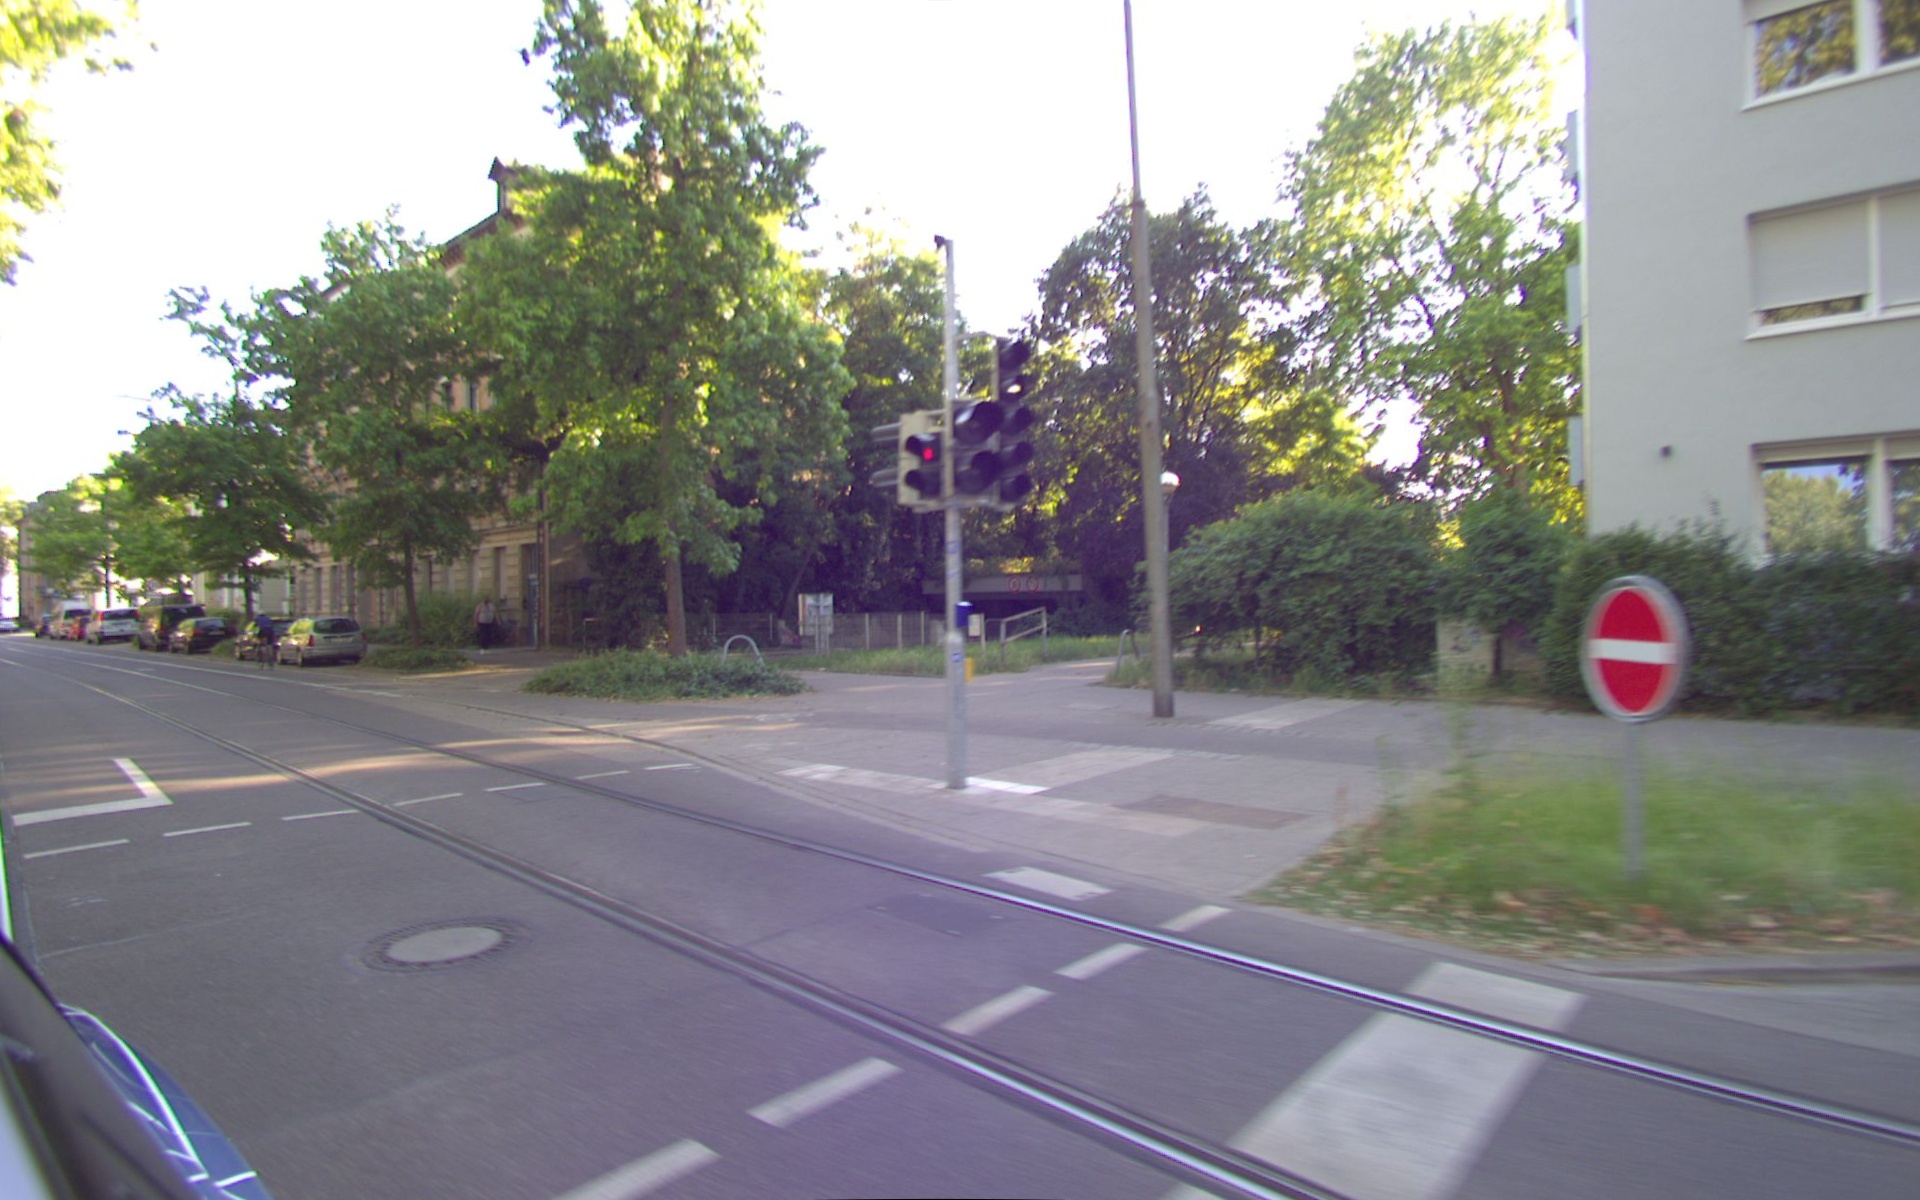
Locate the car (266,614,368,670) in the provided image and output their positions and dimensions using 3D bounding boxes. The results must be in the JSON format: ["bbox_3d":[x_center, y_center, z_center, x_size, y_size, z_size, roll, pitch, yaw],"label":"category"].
[{"bbox_3d":[-19.838,1.257,31.146,4.538,1.562,1.680,-1,0,45],"label":"car"}]

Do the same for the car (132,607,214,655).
[{"bbox_3d":[-34.998,1.357,44.968,4.831,2.029,1.973,-1,-1,41],"label":"car"}]

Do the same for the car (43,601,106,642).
[{"bbox_3d":[-56.623,1.362,64.680,5.340,2.527,2.280,-1,-1,40],"label":"car"}]

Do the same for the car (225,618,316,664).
[{"bbox_3d":[-23.527,1.362,34.479,3.947,1.456,1.641,-1,0,41],"label":"car"}]

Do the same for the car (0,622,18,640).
[{"bbox_3d":[-84.210,2.752,88.696,4.936,1.504,1.754,-1,0,39],"label":"car"}]

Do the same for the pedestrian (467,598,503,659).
[{"bbox_3d":[-14.875,0.893,31.702,0.728,1.861,0.734,-1,0,40],"label":"pedestrian"}]

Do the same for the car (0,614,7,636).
[{"bbox_3d":[-92.012,2.387,95.919,4.938,2.062,1.903,-1,0,41],"label":"car"}]

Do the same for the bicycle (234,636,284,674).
[{"bbox_3d":[-19.467,1.516,28.092,2.100,0.994,0.634,-1,-2,41],"label":"bicycle"}]

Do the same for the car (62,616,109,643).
[{"bbox_3d":[-53.106,1.775,61.450,3.706,1.551,1.667,-1,-1,41],"label":"car"}]

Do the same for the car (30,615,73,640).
[{"bbox_3d":[-63.473,1.907,70.658,4.263,1.703,1.970,-1,-1,44],"label":"car"}]

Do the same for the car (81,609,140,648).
[{"bbox_3d":[-45.664,1.519,54.376,4.988,2.004,1.824,-1,-1,43],"label":"car"}]

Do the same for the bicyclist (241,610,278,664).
[{"bbox_3d":[-19.452,1.031,28.107,0.836,1.466,0.634,-1,-2,41],"label":"bicyclist"}]

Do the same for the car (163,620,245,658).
[{"bbox_3d":[-31.099,1.573,41.590,4.267,1.469,1.834,-1,-1,41],"label":"car"}]
